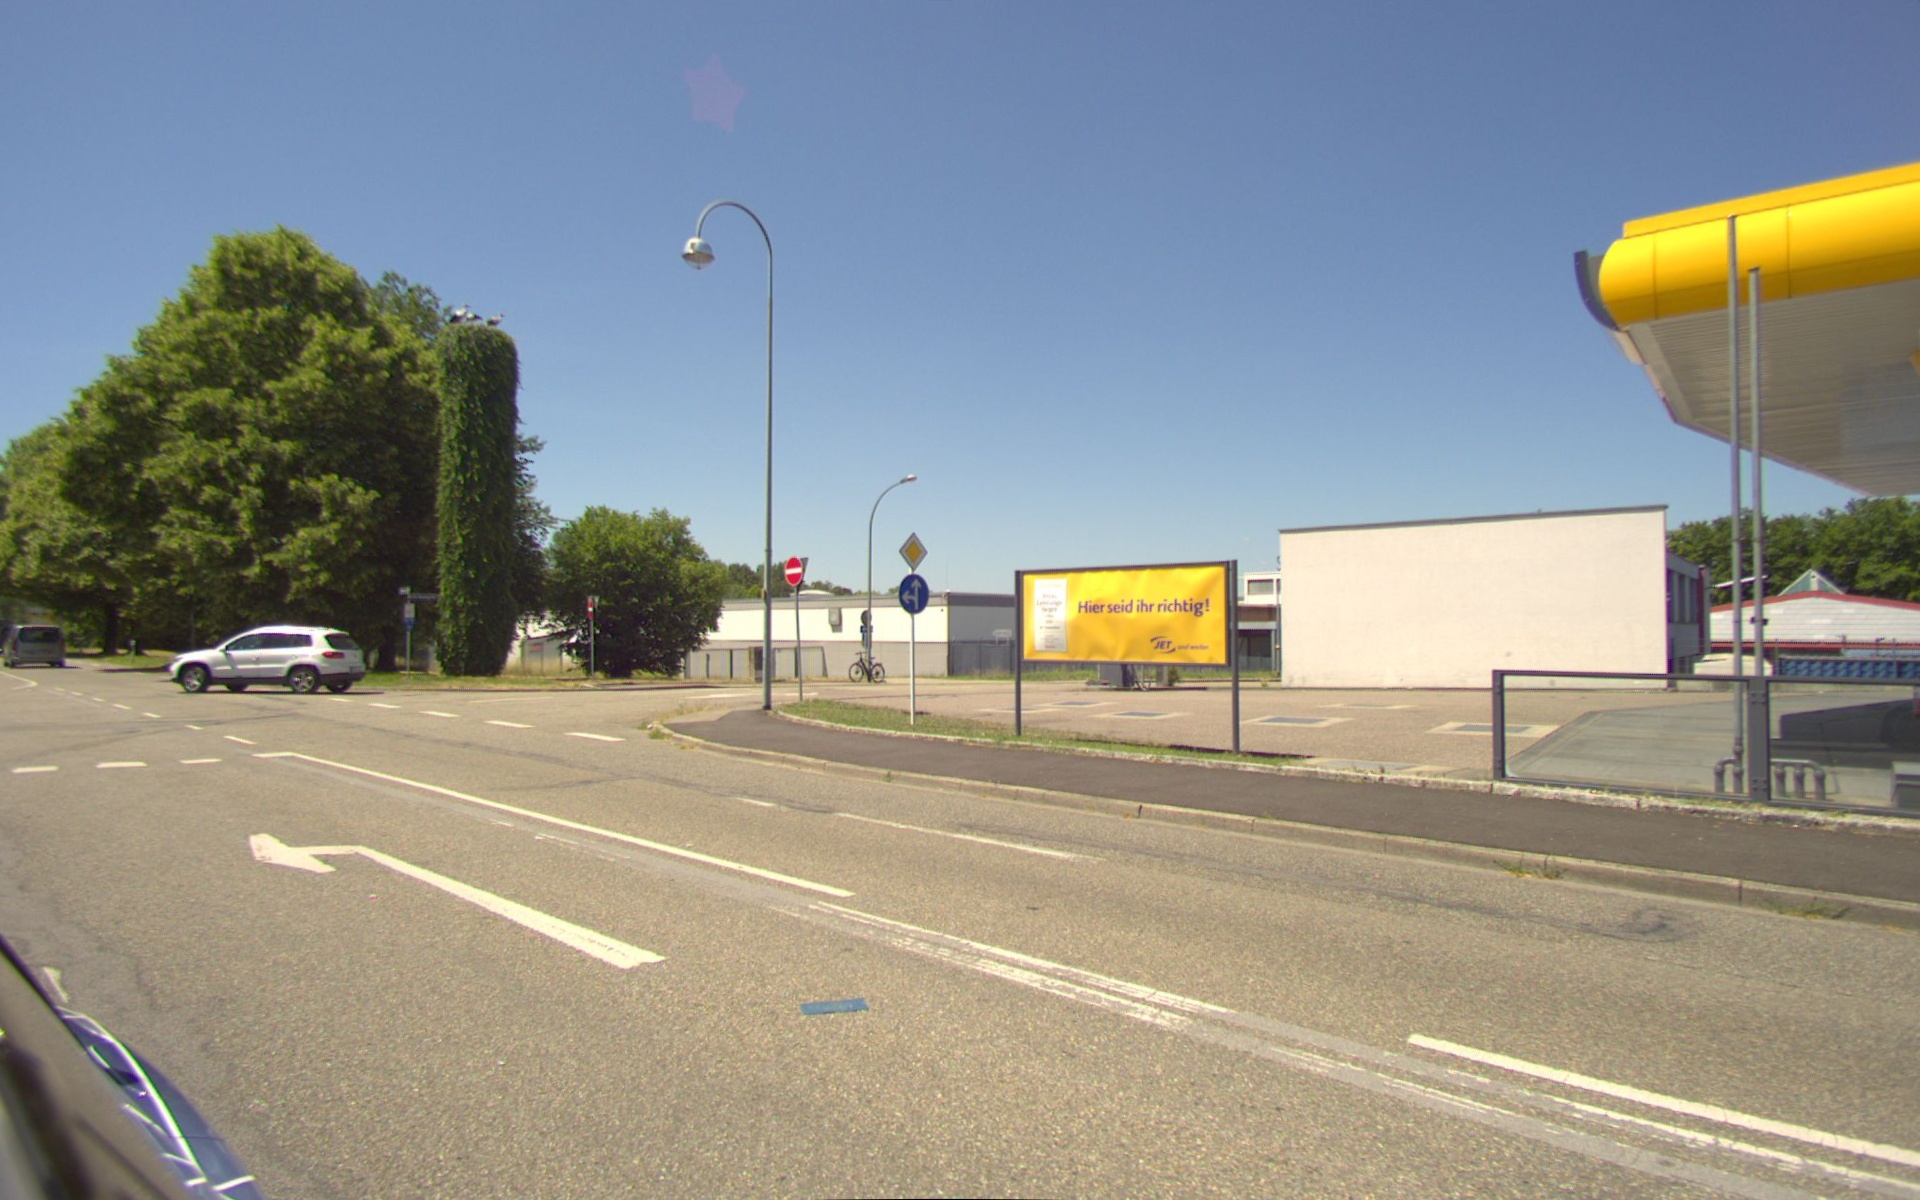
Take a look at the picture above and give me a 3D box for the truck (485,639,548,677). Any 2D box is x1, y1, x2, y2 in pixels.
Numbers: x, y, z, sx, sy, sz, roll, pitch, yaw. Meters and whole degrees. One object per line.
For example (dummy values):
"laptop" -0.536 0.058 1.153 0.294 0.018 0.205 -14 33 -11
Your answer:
"truck" -36.406 4.695 82.865 2.403 2.950 8.175 1 -3 -41

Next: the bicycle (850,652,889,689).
"bicycle" -3.429 2.662 38.349 1.517 1.359 0.395 3 -4 -41

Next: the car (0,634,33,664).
"car" -58.966 3.018 62.992 1.801 1.795 4.787 4 -5 -42

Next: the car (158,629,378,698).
"car" -17.592 1.617 25.911 4.183 1.685 1.978 0 -3 -5

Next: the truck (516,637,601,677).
"truck" -30.098 4.208 75.588 2.652 2.818 10.172 1 -3 -41

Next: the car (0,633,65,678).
"car" -39.371 2.308 42.785 4.363 1.786 1.776 -2 -3 42
